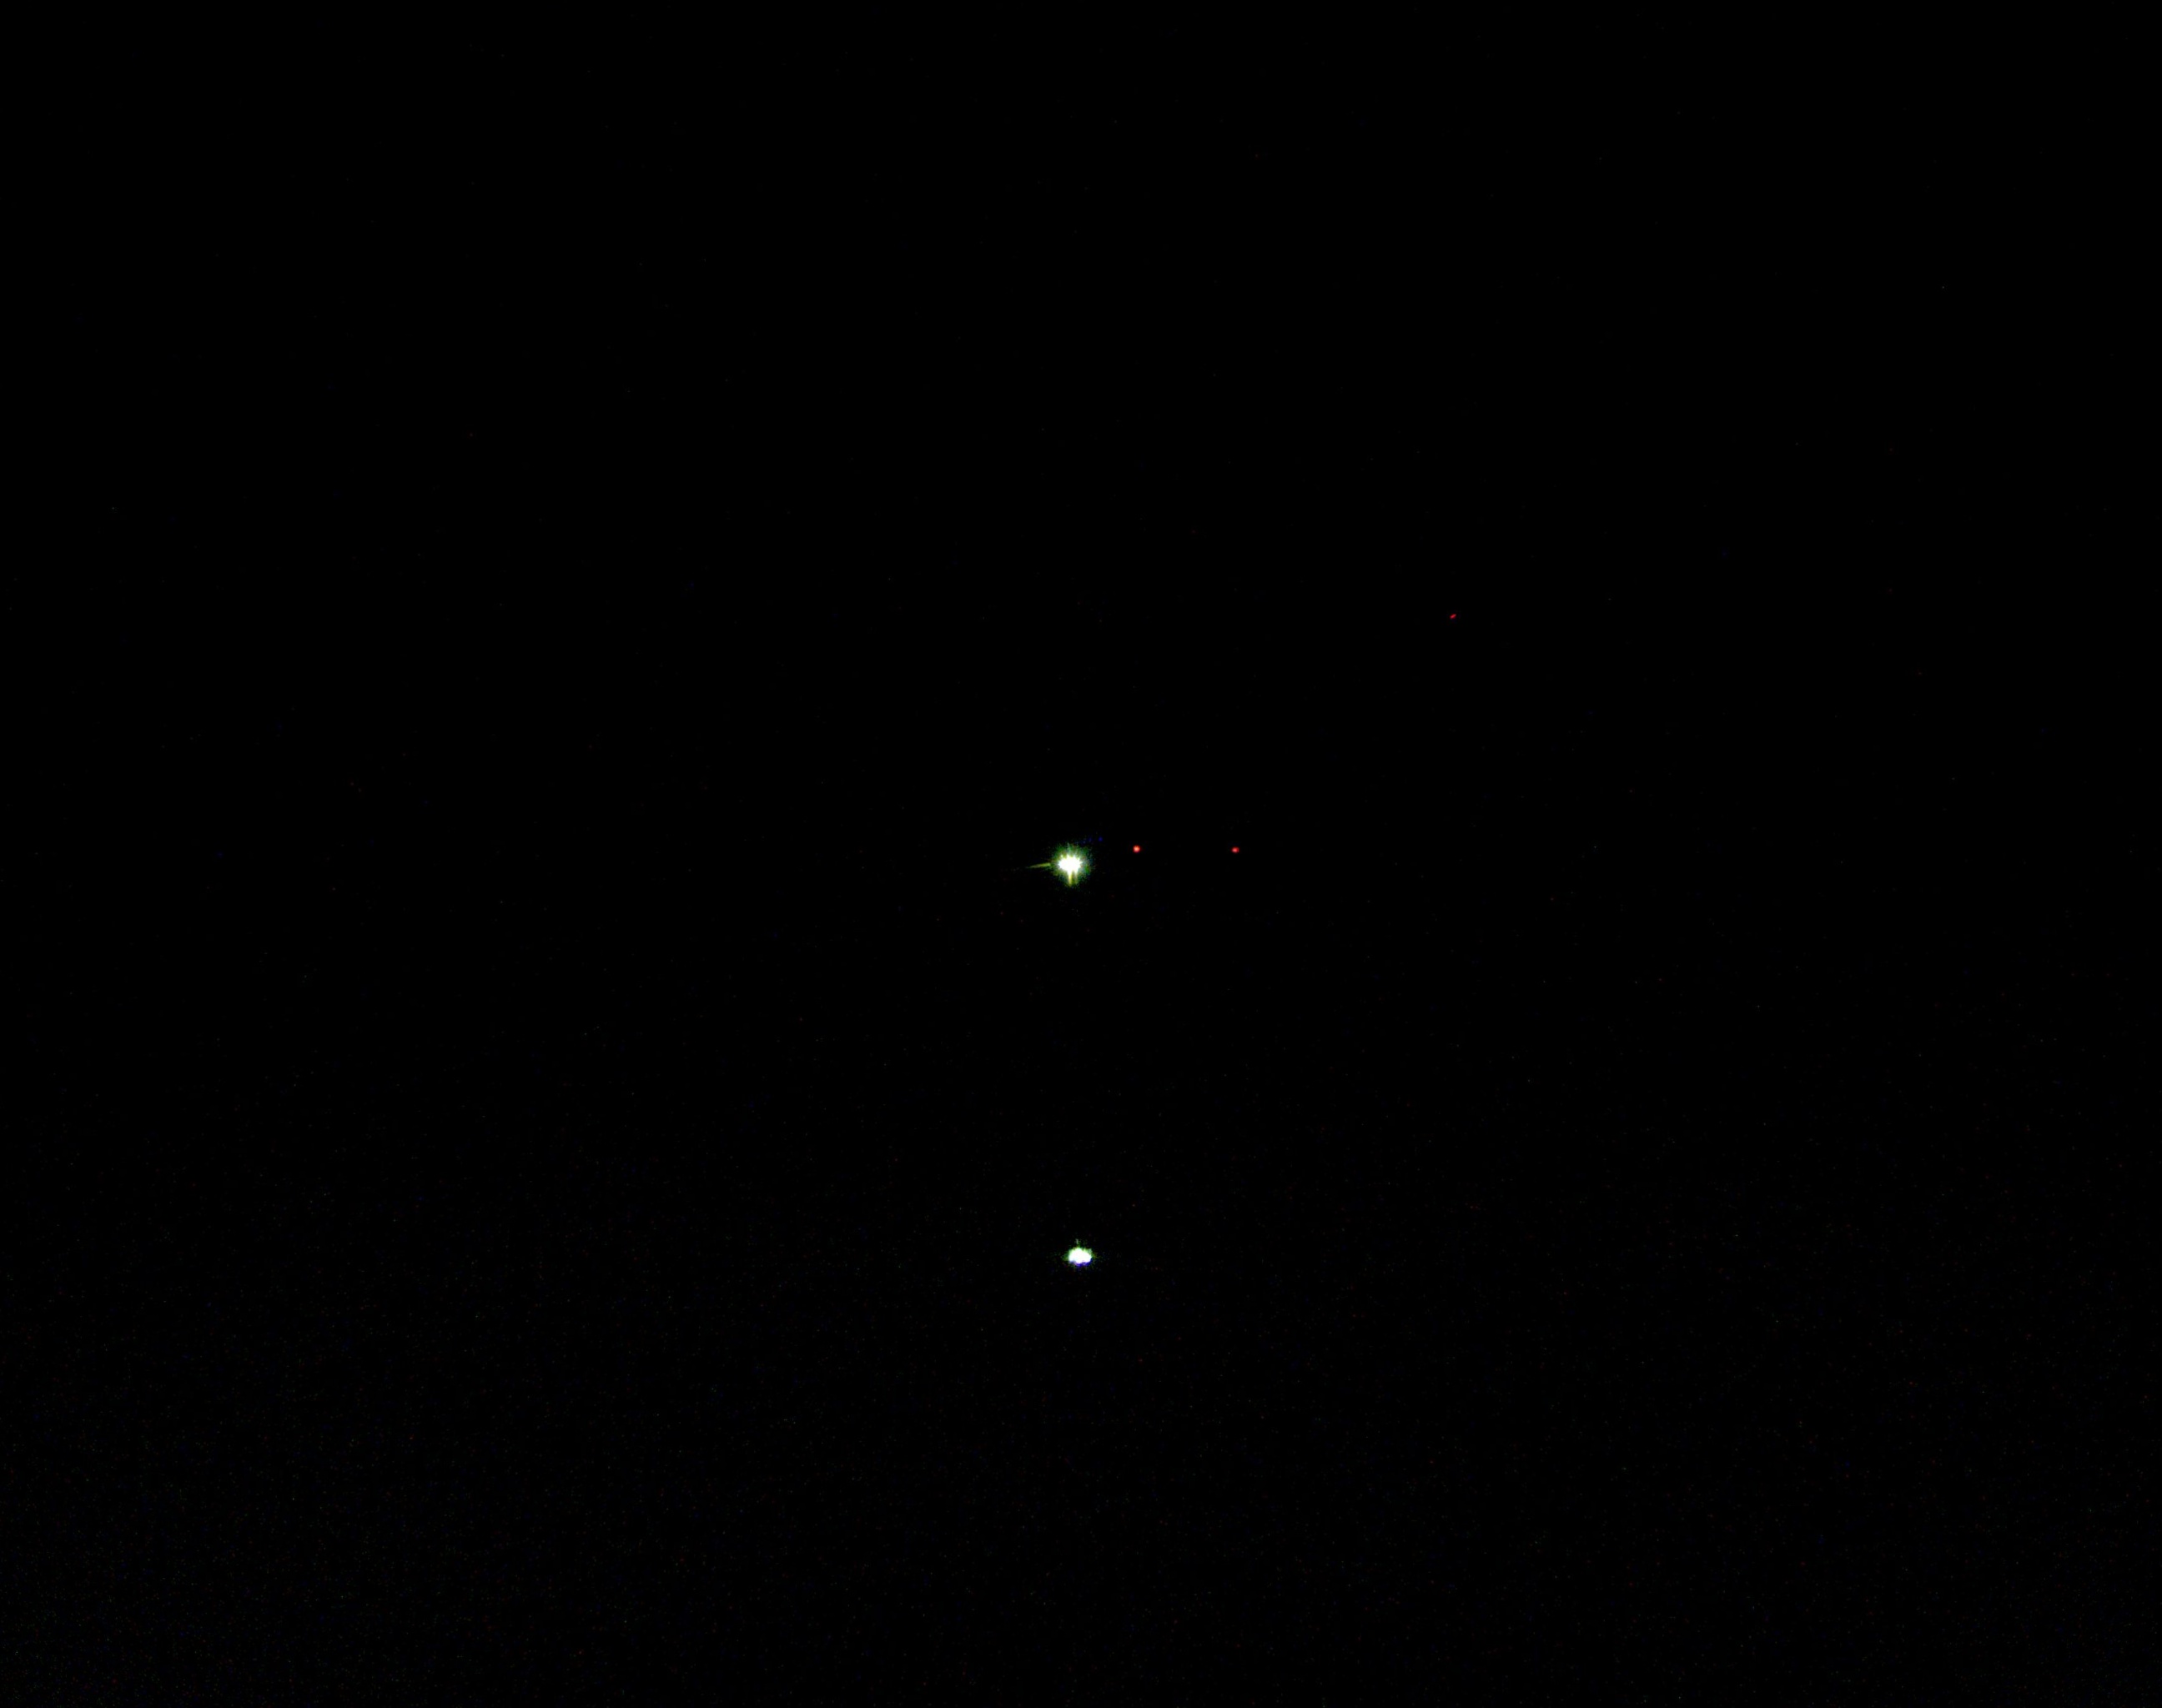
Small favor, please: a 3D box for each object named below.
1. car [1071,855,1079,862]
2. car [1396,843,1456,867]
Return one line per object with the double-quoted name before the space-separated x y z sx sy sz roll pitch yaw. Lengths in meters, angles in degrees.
"car" -1.507 1.019 181.135 1.846 1.474 4.293 -3 -1 0
"car" 24.447 0.067 54.030 2.056 1.589 4.895 -2 0 1
